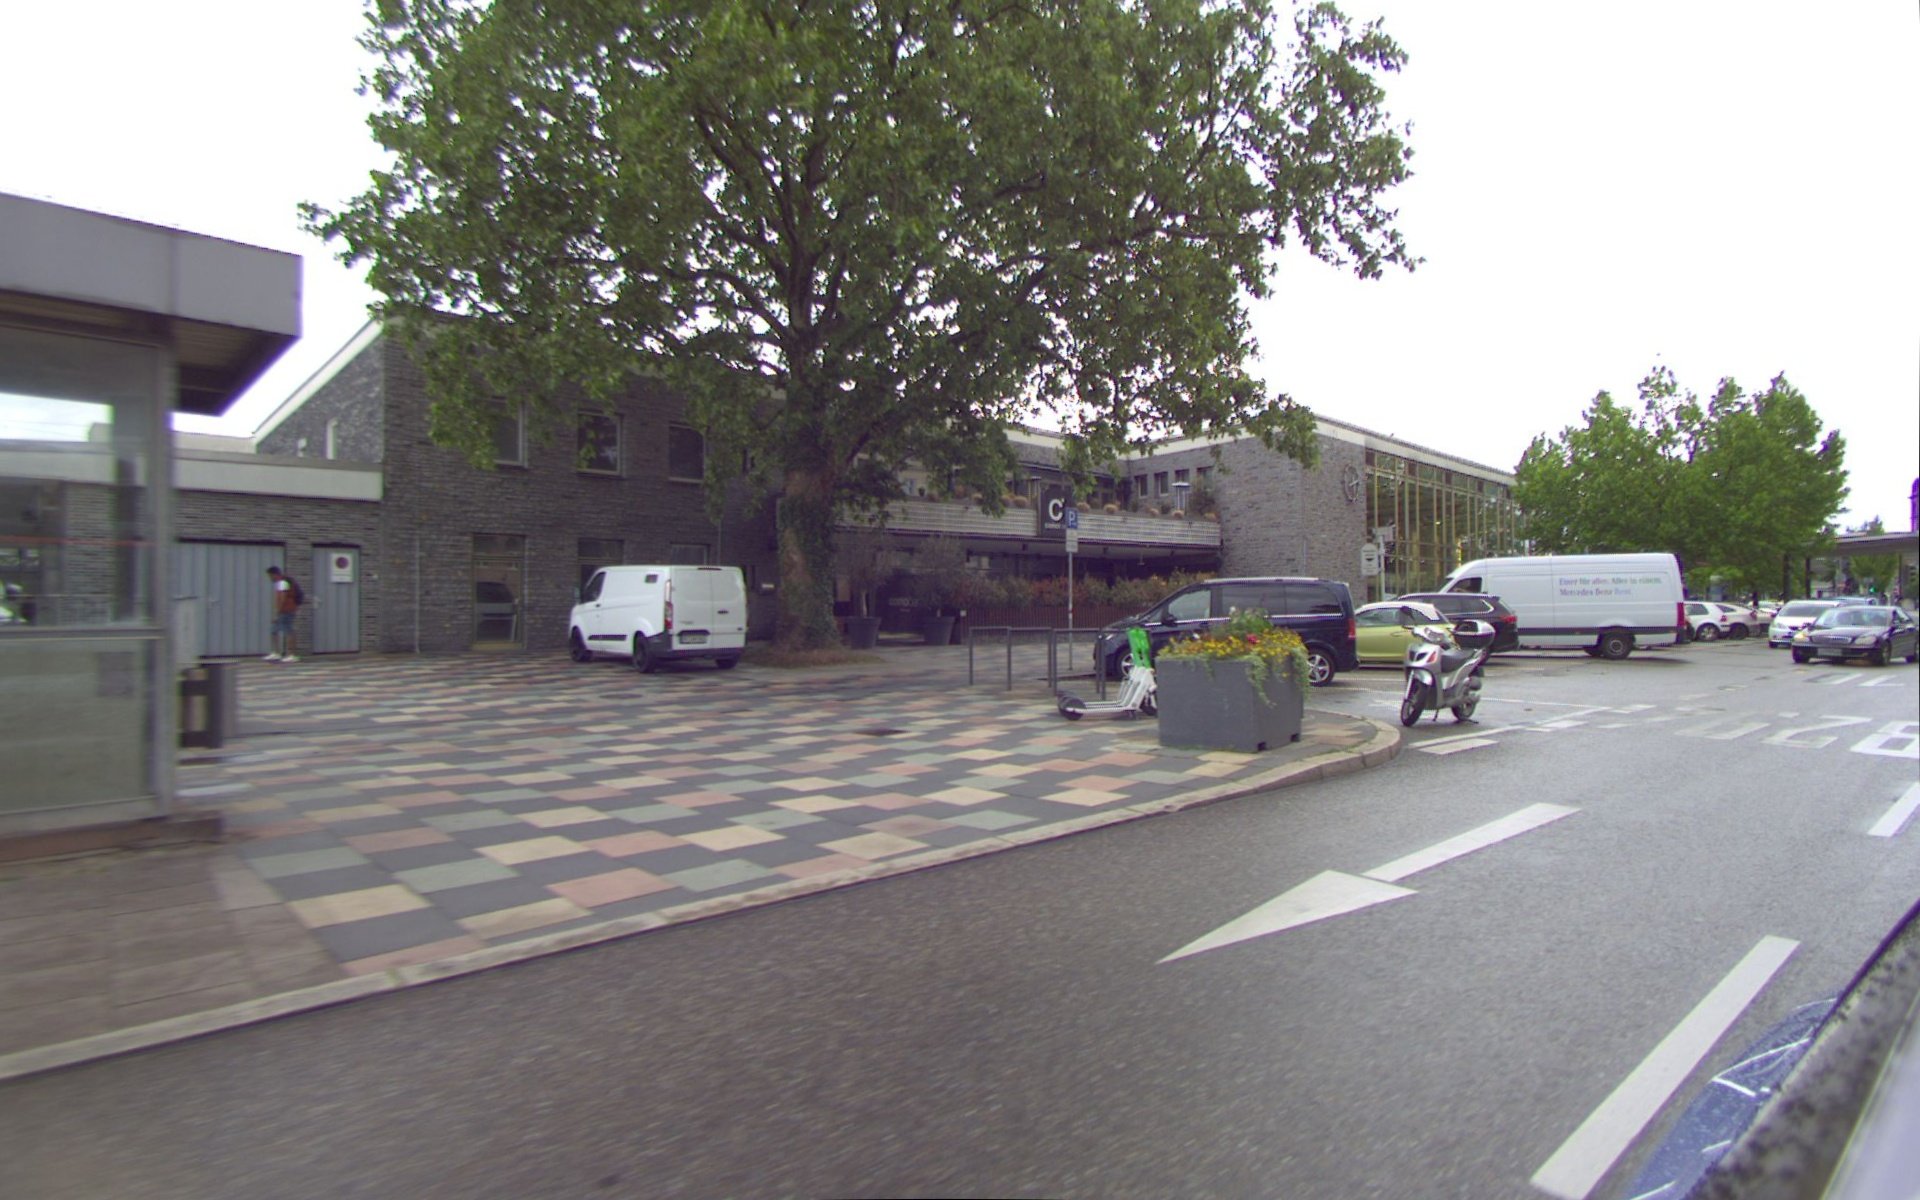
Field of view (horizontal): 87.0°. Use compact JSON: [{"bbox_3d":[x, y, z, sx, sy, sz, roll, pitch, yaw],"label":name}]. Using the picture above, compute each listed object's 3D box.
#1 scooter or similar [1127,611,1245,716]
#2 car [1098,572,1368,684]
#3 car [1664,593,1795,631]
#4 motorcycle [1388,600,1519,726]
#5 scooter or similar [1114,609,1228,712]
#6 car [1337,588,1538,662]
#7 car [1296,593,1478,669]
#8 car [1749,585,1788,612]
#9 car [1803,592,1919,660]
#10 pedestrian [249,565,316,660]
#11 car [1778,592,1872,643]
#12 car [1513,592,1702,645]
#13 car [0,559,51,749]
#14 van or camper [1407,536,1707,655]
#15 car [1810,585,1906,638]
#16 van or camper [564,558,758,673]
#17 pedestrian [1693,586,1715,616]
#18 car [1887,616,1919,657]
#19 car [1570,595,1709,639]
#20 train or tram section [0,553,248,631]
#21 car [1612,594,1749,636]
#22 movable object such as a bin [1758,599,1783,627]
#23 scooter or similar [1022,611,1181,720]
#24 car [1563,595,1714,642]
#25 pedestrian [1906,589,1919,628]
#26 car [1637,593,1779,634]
[{"bbox_3d":[2.600,0.716,11.676,1.237,1.170,0.415,0,-2,-10],"label":"scooter or similar"},{"bbox_3d":[5.039,0.451,18.958,4.635,1.898,2.098,0,0,17],"label":"car"},{"bbox_3d":[30.499,0.445,40.253,3.893,1.417,1.763,1,0,27],"label":"car"},{"bbox_3d":[5.920,0.694,12.082,2.072,1.369,0.644,0,0,-41],"label":"motorcycle"},{"bbox_3d":[2.518,0.713,12.103,1.237,1.170,0.415,-1,-2,-10],"label":"scooter or similar"},{"bbox_3d":[11.350,0.539,24.384,4.183,1.655,1.872,0,0,20],"label":"car"},{"bbox_3d":[9.341,0.619,22.329,3.549,1.543,1.749,0,0,23],"label":"car"},{"bbox_3d":[54.072,-0.082,67.759,1.810,1.576,4.403,-7,-5,38],"label":"car"},{"bbox_3d":[21.892,0.573,24.306,3.757,1.493,1.871,0,1,-40],"label":"car"},{"bbox_3d":[-13.034,0.228,19.464,0.980,1.770,0.878,0,0,-41],"label":"pedestrian"},{"bbox_3d":[26.680,0.495,31.178,3.525,1.493,1.660,0,0,-40],"label":"car"},{"bbox_3d":[19.318,0.508,30.435,4.412,1.490,1.908,0,0,19],"label":"car"},{"bbox_3d":[-11.691,0.520,11.304,2.075,1.898,4.687,0,1,-45],"label":"car"},{"bbox_3d":[15.492,-0.153,26.794,6.446,2.905,2.266,0,0,19],"label":"van or camper"},{"bbox_3d":[30.907,0.367,34.781,4.337,1.704,1.823,0,0,-39],"label":"car"},{"bbox_3d":[-5.995,0.247,20.023,1.987,2.015,4.283,0,1,-43],"label":"van or camper"},{"bbox_3d":[44.056,0.035,59.952,0.896,1.780,0.824,0,0,-37],"label":"pedestrian"},{"bbox_3d":[38.280,1.429,40.262,3.525,1.493,1.660,0,0,-40],"label":"car"},{"bbox_3d":[23.058,0.545,34.475,3.575,1.417,1.768,0,0,20],"label":"car"},{"bbox_3d":[-42.838,-0.421,51.317,2.740,3.648,10.755,0,1,45],"label":"train or tram section"},{"bbox_3d":[25.566,0.504,36.049,3.575,1.417,1.768,0,0,20],"label":"car"},{"bbox_3d":[34.279,0.542,42.802,0.686,1.121,0.542,-5,-2,34],"label":"movable object such as a bin"},{"bbox_3d":[1.717,0.738,12.207,1.638,1.170,1.066,-1,0,-41],"label":"scooter or similar"},{"bbox_3d":[21.565,0.565,32.311,3.643,1.417,1.768,0,0,20],"label":"car"},{"bbox_3d":[44.283,0.382,46.884,0.686,1.773,0.561,0,1,-37],"label":"pedestrian"},{"bbox_3d":[27.867,0.473,37.849,3.882,1.417,1.768,0,0,20],"label":"car"}]
